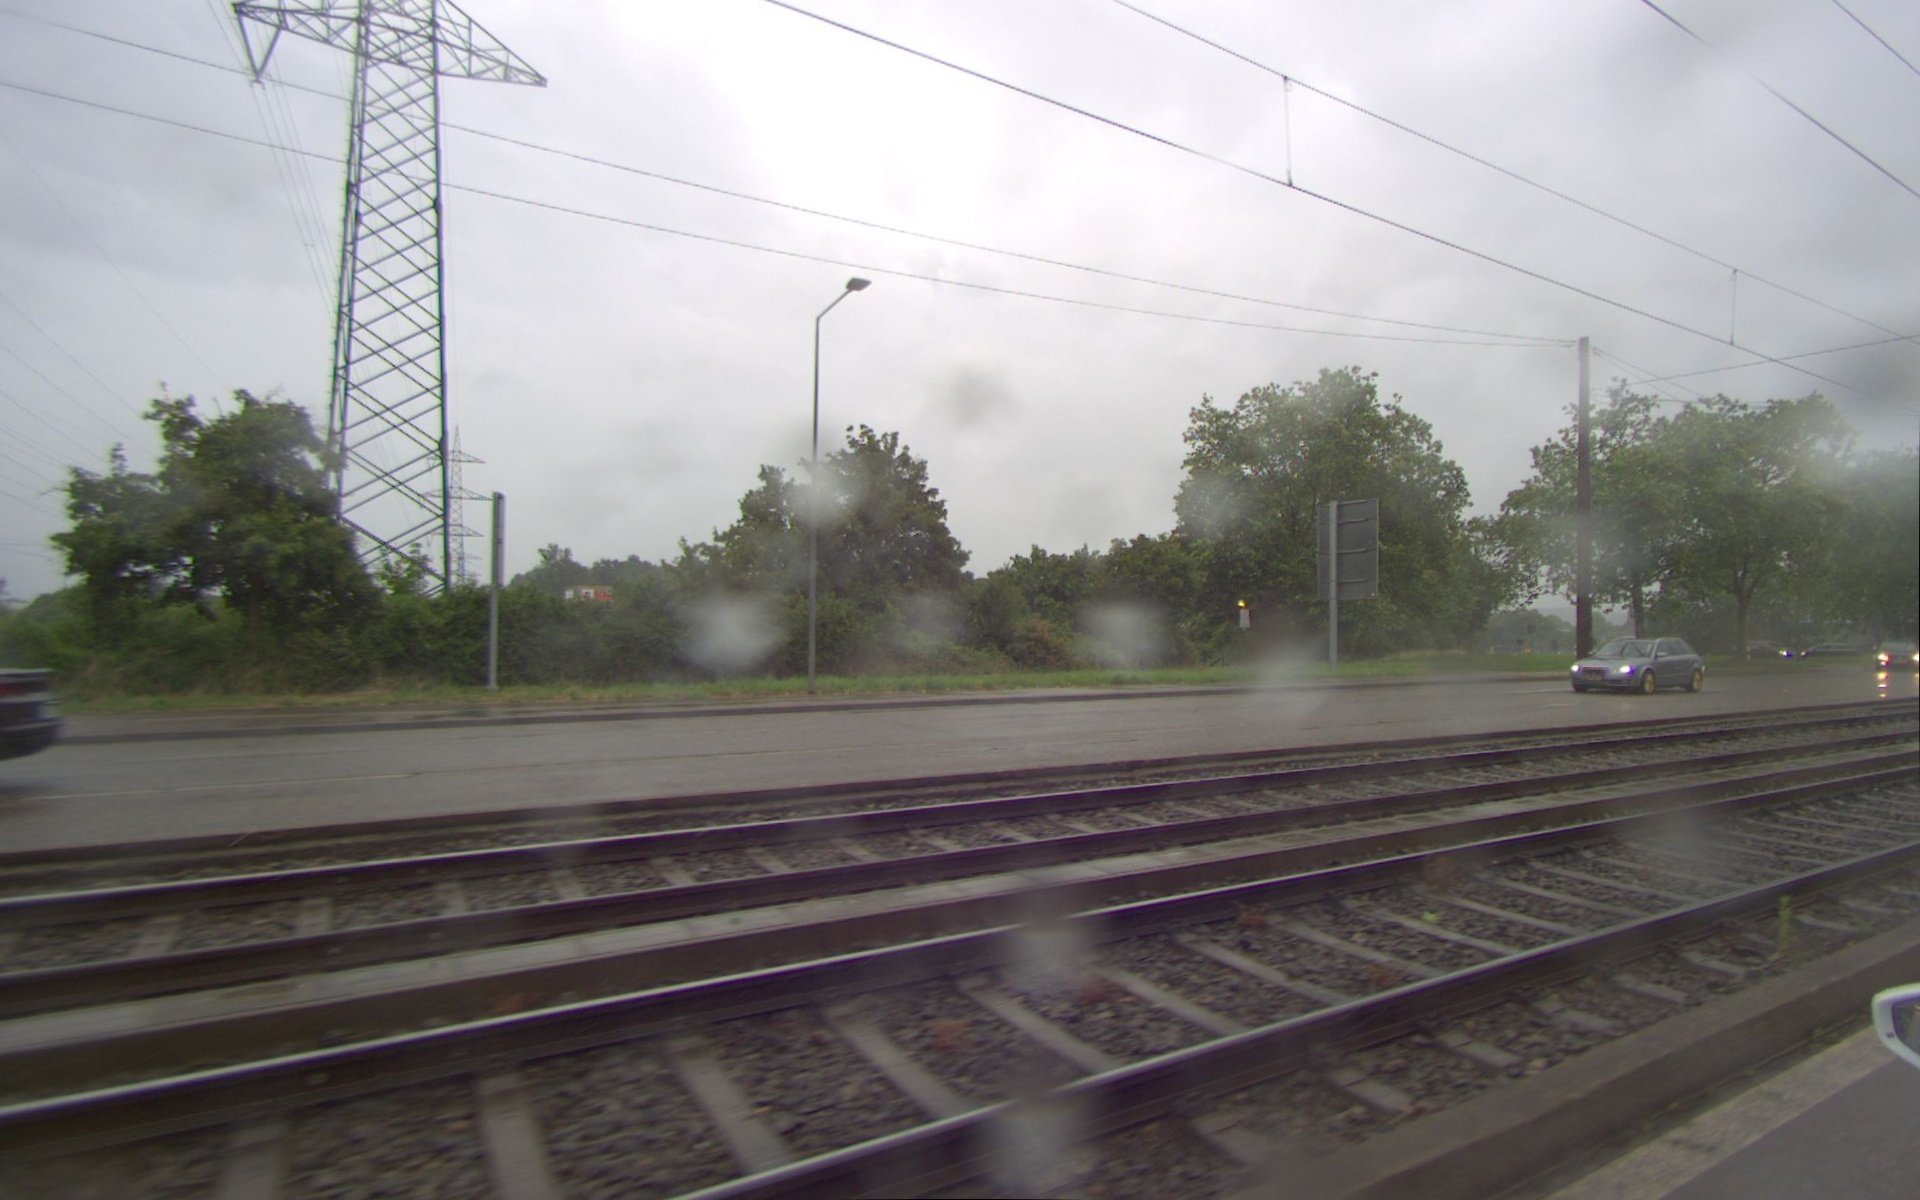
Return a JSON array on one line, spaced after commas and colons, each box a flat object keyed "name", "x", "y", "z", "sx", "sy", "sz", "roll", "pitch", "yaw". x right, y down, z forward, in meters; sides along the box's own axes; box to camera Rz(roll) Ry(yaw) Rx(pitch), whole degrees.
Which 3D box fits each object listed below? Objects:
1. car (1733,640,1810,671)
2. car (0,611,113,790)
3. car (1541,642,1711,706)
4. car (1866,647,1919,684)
[{"name": "car", "x": 53.124, "y": 3.613, "z": 65.857, "sx": 1.810, "sy": 1.709, "sz": 4.652, "roll": 1, "pitch": 0, "yaw": 8}, {"name": "car", "x": -10.456, "y": 0.868, "z": 8.113, "sx": 5.185, "sy": 1.483, "sz": 1.986, "roll": 0, "pitch": -3, "yaw": -28}, {"name": "car", "x": 17.413, "y": 1.871, "z": 26.179, "sx": 5.013, "sy": 1.381, "sz": 1.748, "roll": 0, "pitch": 0, "yaw": -31}, {"name": "car", "x": 45.686, "y": 3.132, "z": 48.638, "sx": 3.955, "sy": 1.573, "sz": 1.679, "roll": 0, "pitch": 0, "yaw": -32}]
